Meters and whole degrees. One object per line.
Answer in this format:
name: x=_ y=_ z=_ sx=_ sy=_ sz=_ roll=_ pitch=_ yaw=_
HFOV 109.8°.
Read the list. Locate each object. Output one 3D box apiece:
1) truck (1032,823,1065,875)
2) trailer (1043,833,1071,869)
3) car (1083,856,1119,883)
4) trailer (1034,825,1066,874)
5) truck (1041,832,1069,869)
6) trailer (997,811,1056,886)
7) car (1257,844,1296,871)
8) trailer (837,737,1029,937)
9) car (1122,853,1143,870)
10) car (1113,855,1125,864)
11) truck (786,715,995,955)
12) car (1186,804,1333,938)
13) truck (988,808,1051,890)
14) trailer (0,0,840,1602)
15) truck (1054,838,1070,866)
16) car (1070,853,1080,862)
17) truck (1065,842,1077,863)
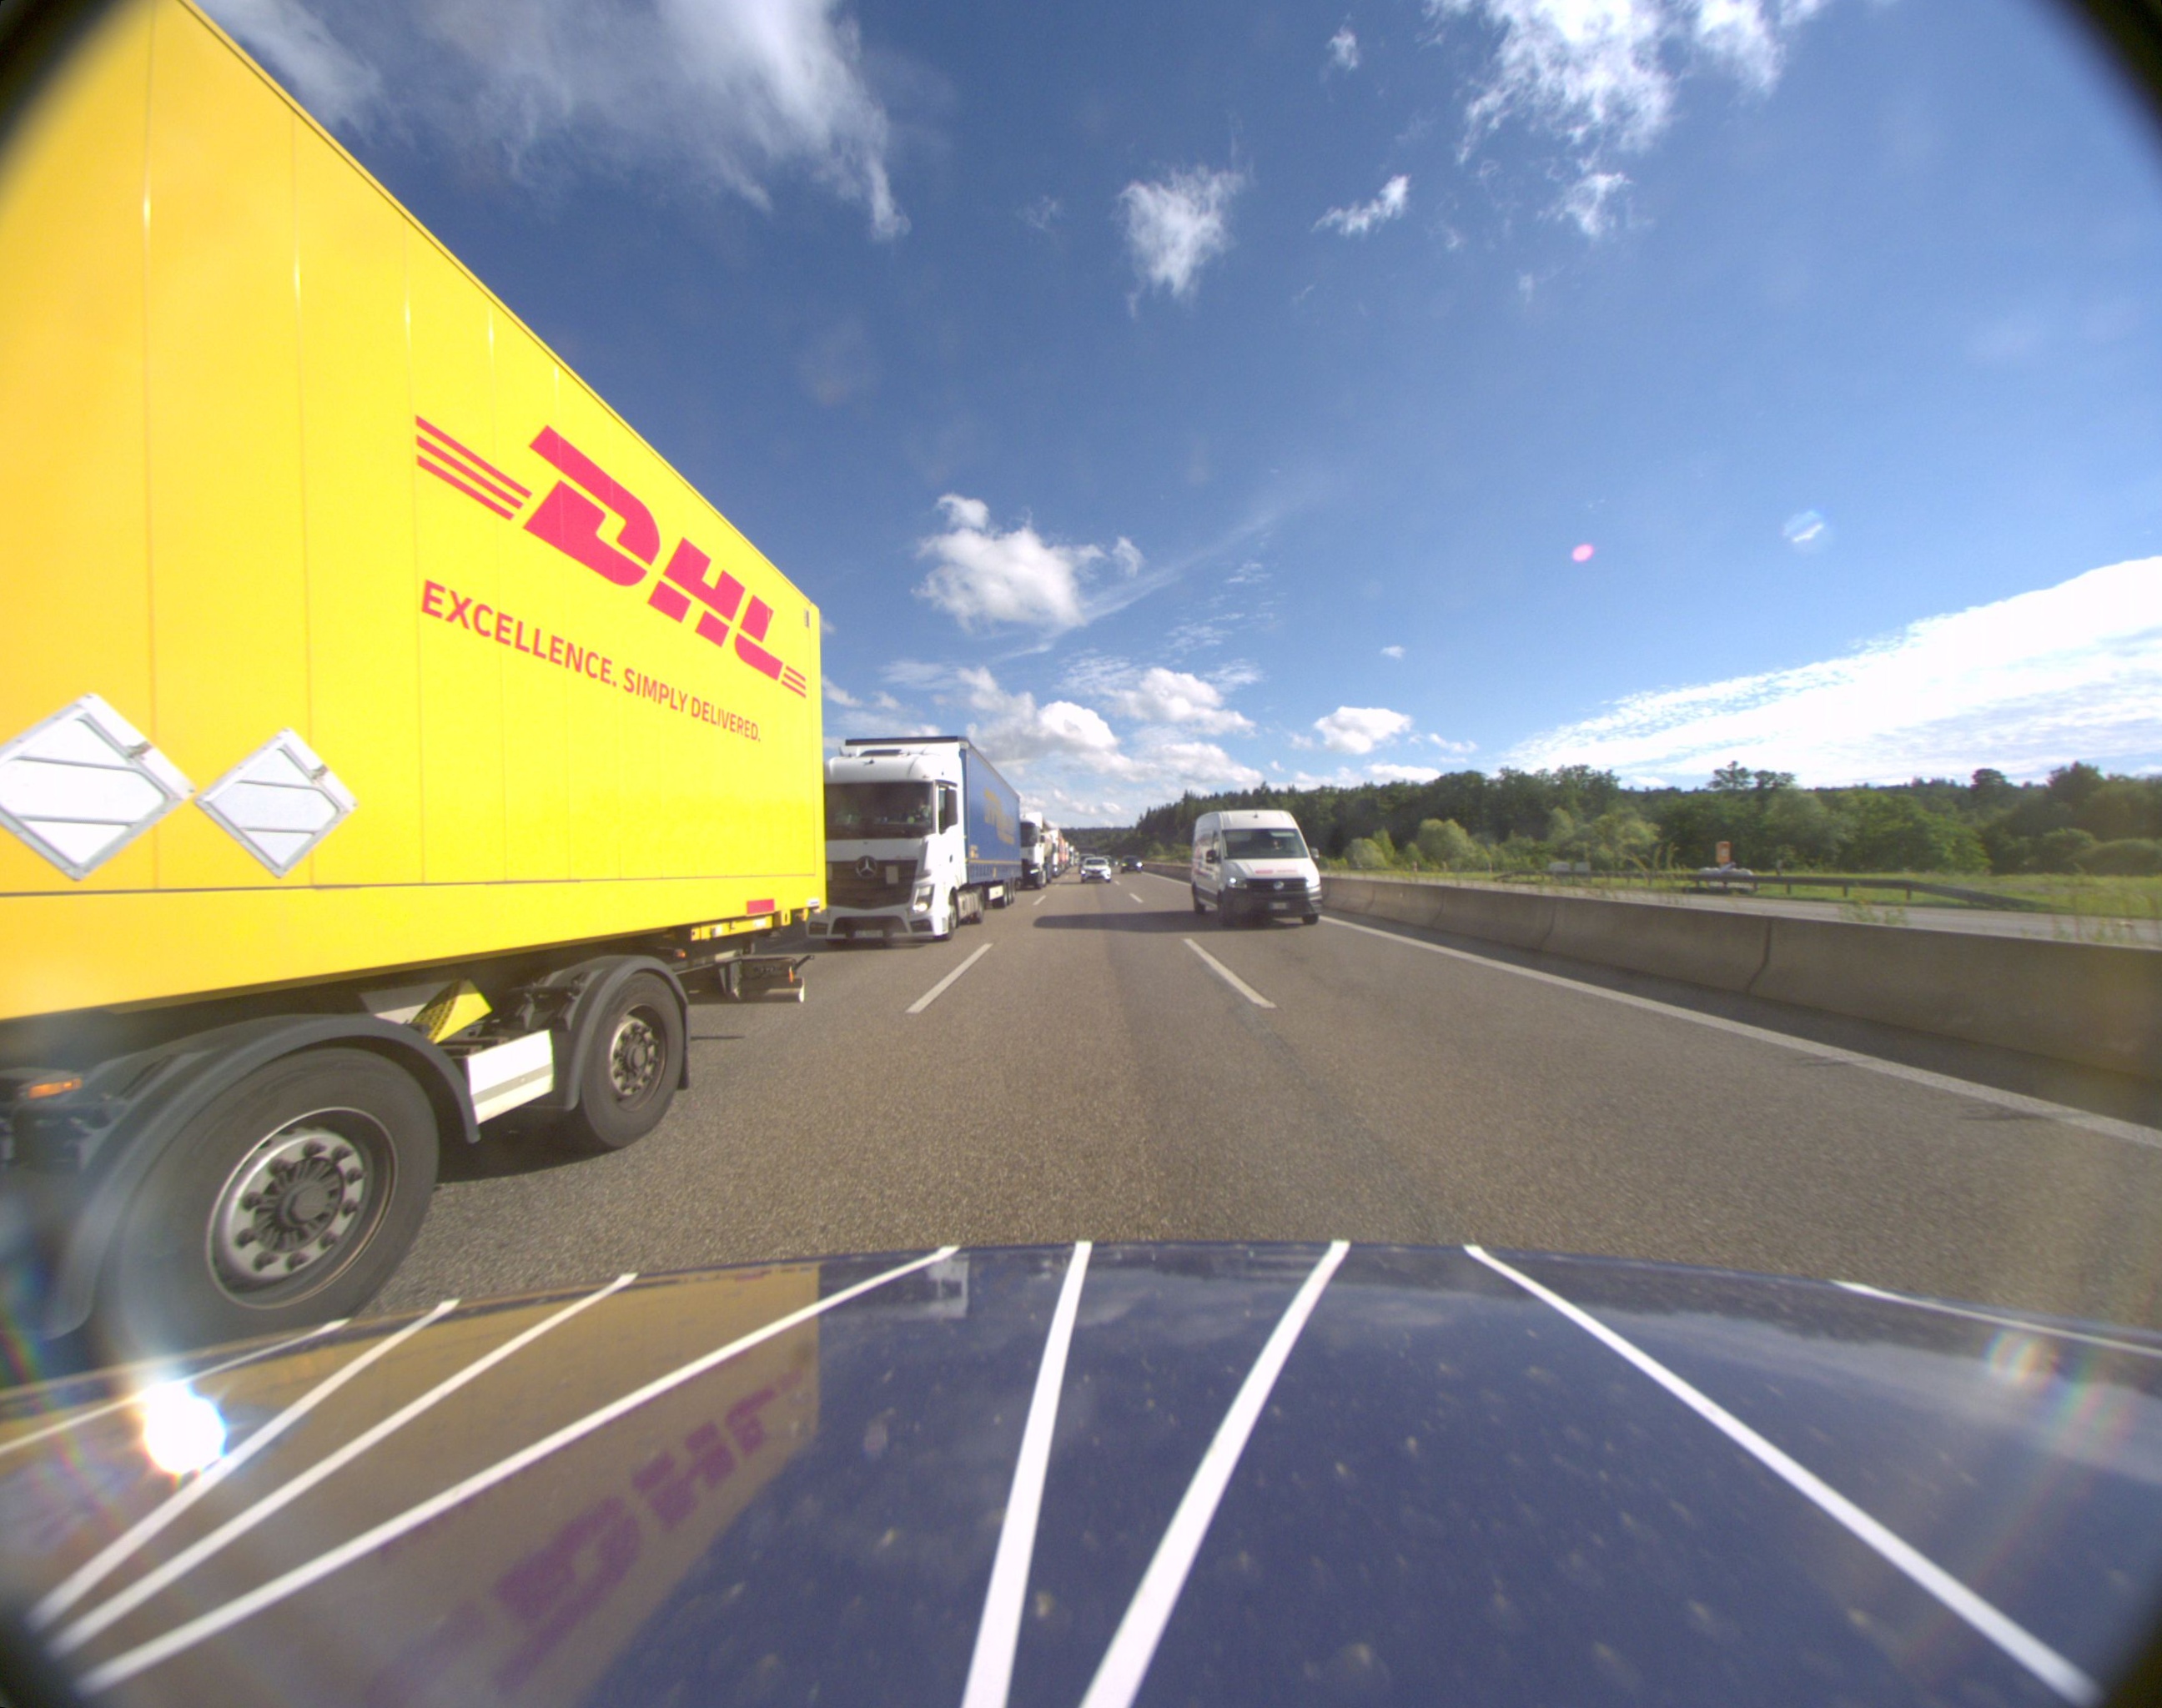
truck: x=-2.632 y=-0.351 z=62.614 sx=2.371 sy=3.996 sz=6.106 roll=-1 pitch=-1 yaw=0
trailer: x=-2.743 y=-0.325 z=91.673 sx=2.624 sy=3.977 sz=13.366 roll=-2 pitch=0 yaw=1
car: x=1.259 y=0.892 z=46.838 sx=2.026 sy=1.510 sz=5.299 roll=-2 pitch=0 yaw=2
trailer: x=-2.667 y=-0.254 z=69.573 sx=2.334 sy=3.973 sz=14.300 roll=-1 pitch=-1 yaw=0
truck: x=-2.846 y=-0.357 z=84.692 sx=2.634 sy=3.959 sz=5.956 roll=-2 pitch=0 yaw=1
trailer: x=-3.116 y=-0.232 z=46.346 sx=2.653 sy=3.911 sz=11.175 roll=-2 pitch=0 yaw=0
car: x=19.876 y=0.335 z=77.593 sx=2.038 sy=2.563 sz=7.321 roll=-2 pitch=0 yaw=0
trailer: x=-3.563 y=-0.389 z=22.826 sx=2.648 sy=4.074 sz=13.979 roll=-2 pitch=0 yaw=1
car: x=4.908 y=0.688 z=73.338 sx=1.779 sy=1.533 sz=4.158 roll=1 pitch=1 yaw=1
car: x=6.389 y=0.853 z=128.299 sx=1.779 sy=1.451 sz=4.158 roll=1 pitch=1 yaw=1
truck: x=-3.650 y=-0.344 z=16.361 sx=2.655 sy=4.066 sz=6.491 roll=-2 pitch=1 yaw=1
car: x=3.921 y=0.351 z=17.969 sx=2.020 sy=2.583 sz=6.182 roll=-1 pitch=0 yaw=0
truck: x=-3.104 y=-0.225 z=40.354 sx=2.656 sy=3.902 sz=6.942 roll=-2 pitch=0 yaw=0
trailer: x=-3.688 y=-0.303 z=2.999 sx=2.418 sy=4.045 sz=8.926 roll=-2 pitch=0 yaw=1
truck: x=-2.728 y=-0.346 z=112.768 sx=1.998 sy=4.025 sz=5.869 roll=-2 pitch=1 yaw=1
car: x=-1.448 y=0.919 z=181.209 sx=2.129 sy=2.030 sz=4.697 roll=1 pitch=0 yaw=2
truck: x=-1.952 y=-0.265 z=148.516 sx=1.998 sy=3.999 sz=7.344 roll=-2 pitch=1 yaw=0
